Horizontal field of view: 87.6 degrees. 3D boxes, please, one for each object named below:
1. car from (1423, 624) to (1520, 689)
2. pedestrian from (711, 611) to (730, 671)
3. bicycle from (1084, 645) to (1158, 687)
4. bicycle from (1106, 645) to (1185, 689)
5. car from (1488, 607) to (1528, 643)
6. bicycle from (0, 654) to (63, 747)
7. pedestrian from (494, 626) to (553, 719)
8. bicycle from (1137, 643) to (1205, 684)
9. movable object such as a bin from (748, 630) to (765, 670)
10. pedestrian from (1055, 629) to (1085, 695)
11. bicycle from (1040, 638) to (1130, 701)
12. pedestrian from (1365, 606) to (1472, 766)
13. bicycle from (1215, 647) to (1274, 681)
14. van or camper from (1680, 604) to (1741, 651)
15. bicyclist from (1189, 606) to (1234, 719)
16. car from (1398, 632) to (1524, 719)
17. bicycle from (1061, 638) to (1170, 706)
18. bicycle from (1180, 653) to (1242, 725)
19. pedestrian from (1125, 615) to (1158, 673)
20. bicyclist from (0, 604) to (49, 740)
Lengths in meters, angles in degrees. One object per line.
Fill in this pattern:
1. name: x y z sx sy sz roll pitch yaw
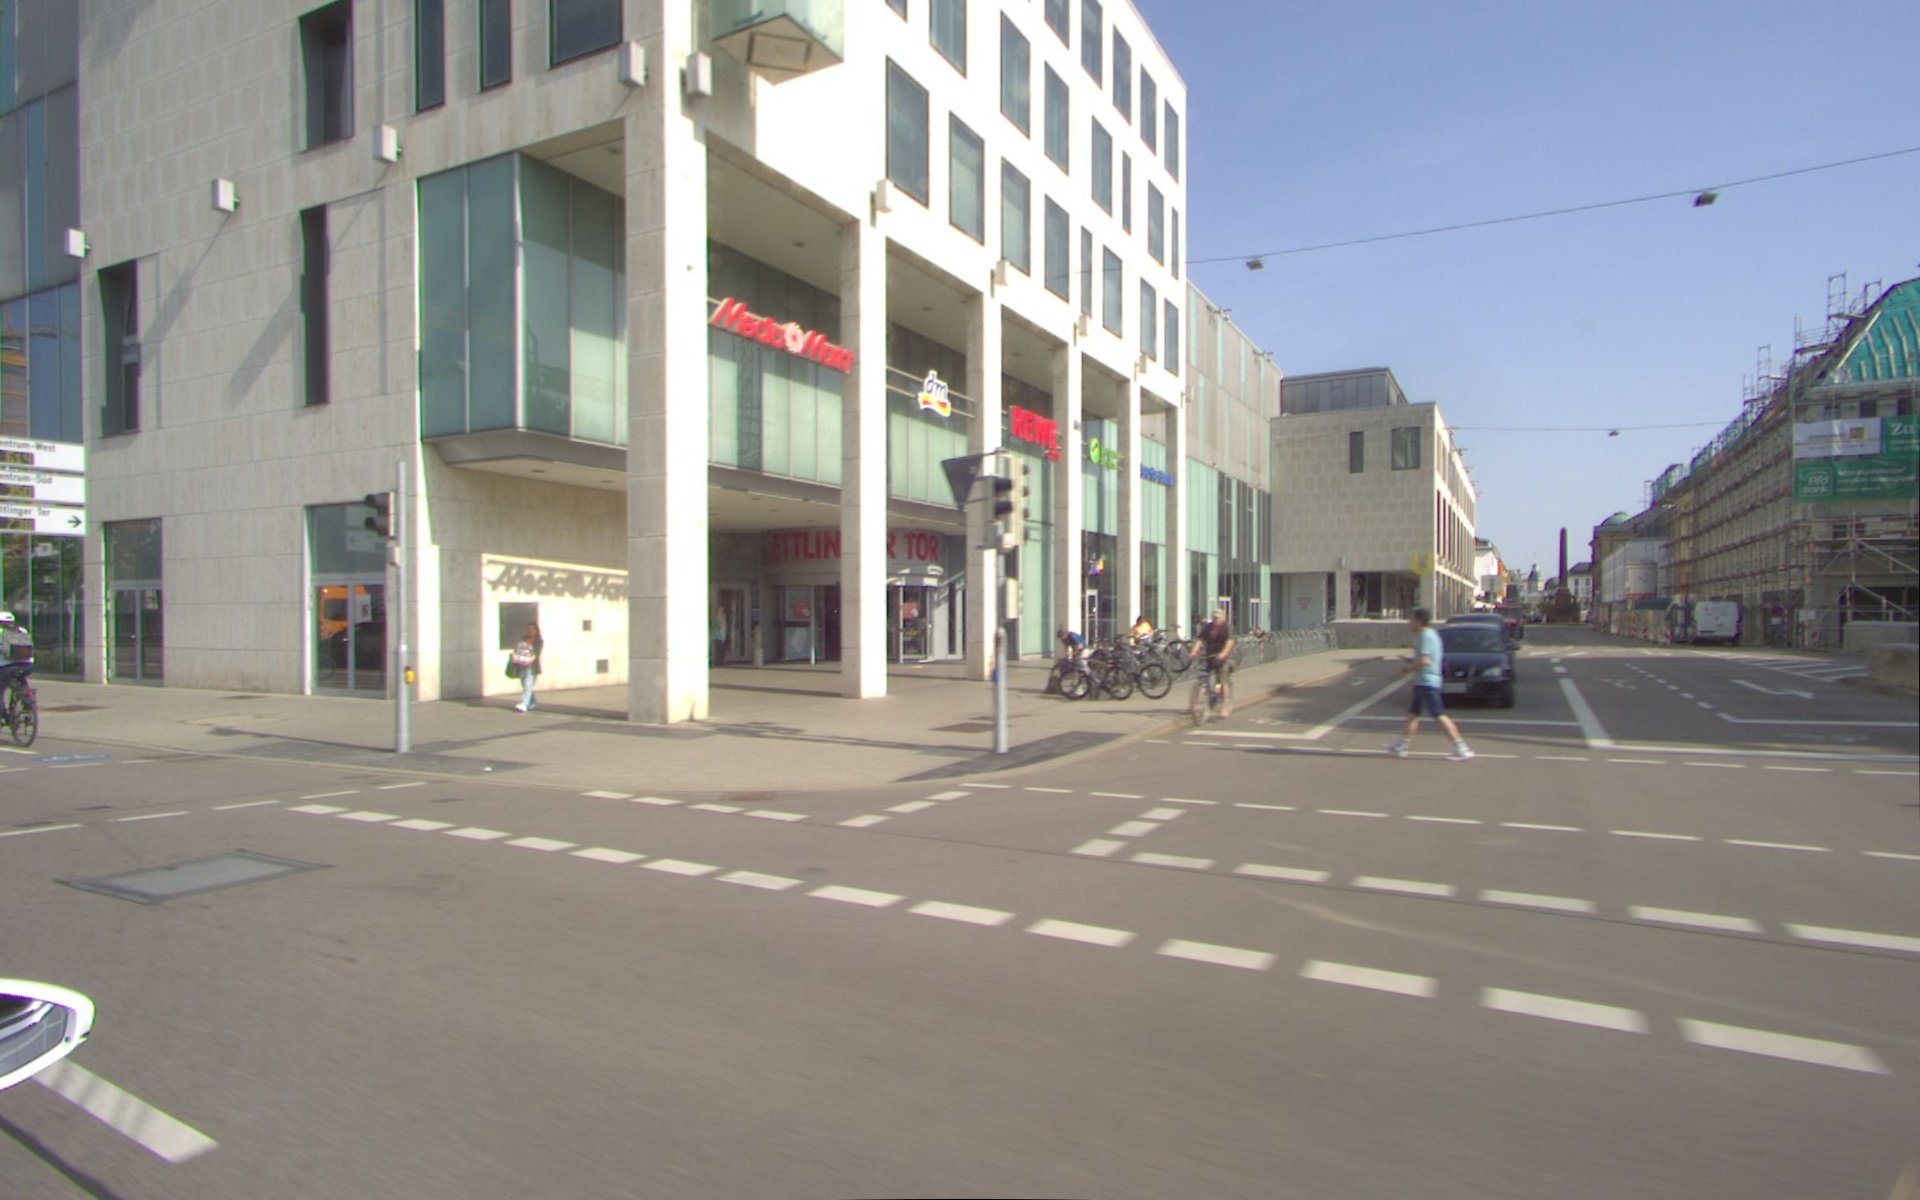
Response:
1. car: 12.325 1.294 24.022 1.851 1.421 3.895 0 -1 31
2. pedestrian: -6.850 1.178 28.643 0.496 1.700 0.455 0 0 -8
3. bicycle: 3.983 1.624 24.853 1.831 0.969 0.457 -1 -1 36
4. bicycle: 4.413 1.583 23.908 1.831 0.969 0.457 -1 -1 36
5. car: 38.936 1.832 71.194 2.389 2.440 4.991 -1 -3 29
6. bicycle: -13.012 1.325 13.574 2.019 1.132 0.660 0 0 29
7. pedestrian: -7.300 1.192 16.769 0.593 1.507 0.709 0 0 13
8. bicycle: 5.332 1.596 25.373 1.648 0.969 0.457 -1 -1 36
9. movable object such as a bin: -5.741 1.404 28.241 0.350 1.114 0.292 0 0 29
10. pedestrian: 2.337 1.306 21.258 0.538 1.374 0.512 0 0 20
11. bicycle: 2.561 1.405 20.545 1.764 1.215 0.500 0 0 26
12. pedestrian: 5.244 0.960 11.450 0.976 1.733 0.641 -2 -1 35
13. bicycle: 8.751 1.958 30.780 1.688 0.969 0.458 0 0 26
14. van or camper: 40.678 1.445 54.401 1.969 2.441 5.122 0 -1 29
15. bicyclist: 4.041 0.987 16.066 0.573 1.760 0.634 0 0 27
16. car: 9.416 1.318 18.669 1.850 1.384 3.887 -1 -1 30
17. bicycle: 3.025 1.381 19.574 2.038 1.253 0.612 0 -1 29
18. bicycle: 4.059 1.399 16.093 0.602 1.030 1.801 0 -1 26
19. pedestrian: 4.764 1.140 26.341 0.724 1.505 0.602 0 0 -4
20. bicyclist: -12.785 0.945 13.421 0.757 1.772 0.650 0 0 29
